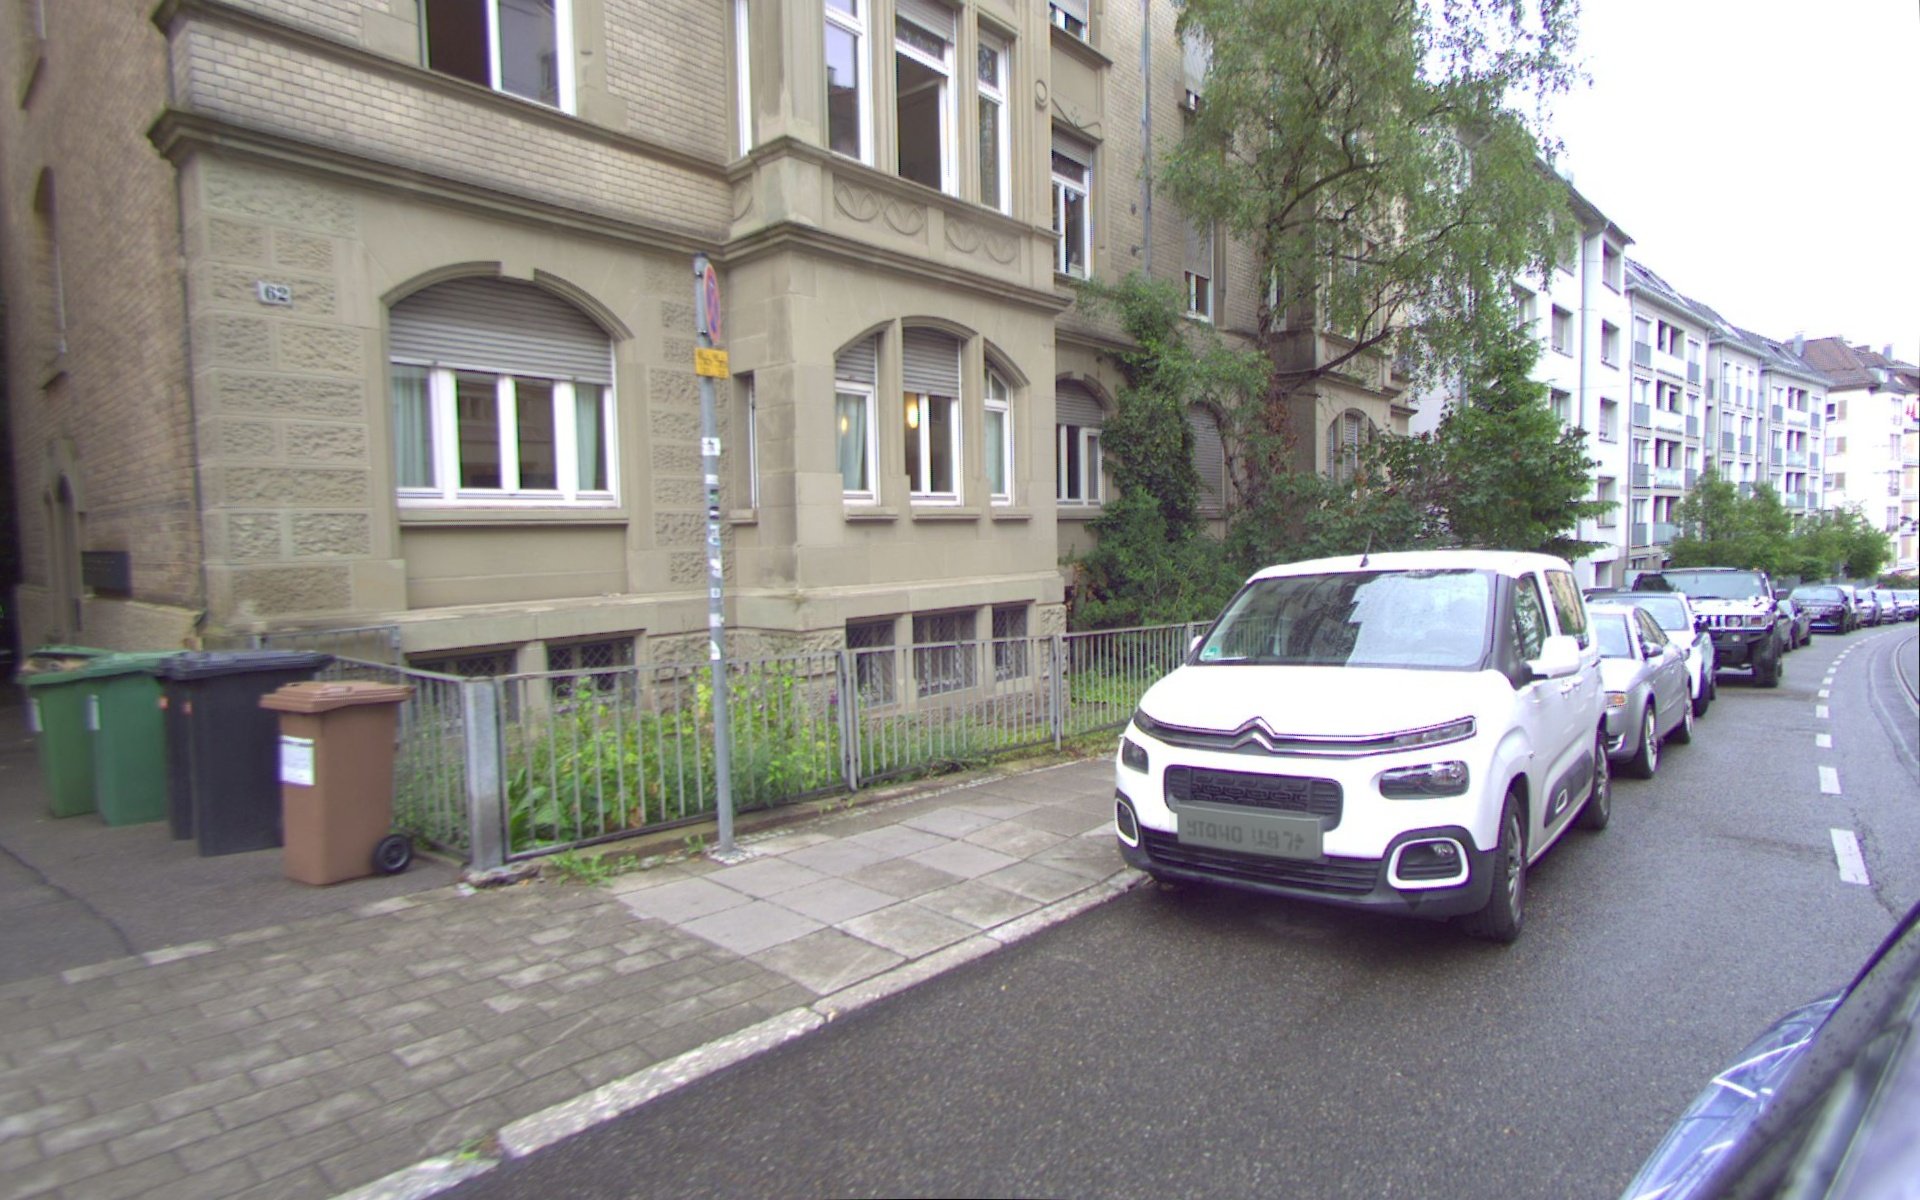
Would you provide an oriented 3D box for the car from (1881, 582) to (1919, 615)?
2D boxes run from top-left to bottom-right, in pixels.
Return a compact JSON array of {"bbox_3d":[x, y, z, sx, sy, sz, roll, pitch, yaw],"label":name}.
[{"bbox_3d":[49.505,-0.118,52.876,1.975,1.604,4.495,2,2,43],"label":"car"}]

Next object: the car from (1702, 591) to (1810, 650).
[{"bbox_3d":[20.134,0.457,25.538,3.819,1.355,1.679,-1,1,-44],"label":"car"}]

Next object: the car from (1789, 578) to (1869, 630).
[{"bbox_3d":[32.666,0.081,37.994,1.943,1.817,4.744,1,2,45],"label":"car"}]

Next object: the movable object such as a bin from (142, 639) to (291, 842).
[{"bbox_3d":[-4.351,0.785,5.927,0.498,1.075,0.600,-3,-1,41],"label":"movable object such as a bin"}]

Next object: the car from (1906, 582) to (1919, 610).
[{"bbox_3d":[56.758,-0.234,58.946,4.704,1.534,1.862,-1,2,-40],"label":"car"}]

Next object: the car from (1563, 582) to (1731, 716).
[{"bbox_3d":[9.375,0.555,13.705,1.557,1.565,3.533,-1,0,40],"label":"car"}]

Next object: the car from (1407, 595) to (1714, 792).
[{"bbox_3d":[5.950,0.692,9.759,1.747,1.418,4.411,-1,0,41],"label":"car"}]

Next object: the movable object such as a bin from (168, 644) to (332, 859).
[{"bbox_3d":[-3.874,0.781,5.523,0.653,1.043,0.528,-1,-1,-43],"label":"movable object such as a bin"}]

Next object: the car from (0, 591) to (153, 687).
[{"bbox_3d":[-17.477,0.672,18.561,3.933,1.529,1.796,7,-1,-45],"label":"car"}]

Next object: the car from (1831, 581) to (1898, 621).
[{"bbox_3d":[40.947,-0.004,45.788,4.608,1.676,1.834,-1,2,-43],"label":"car"}]

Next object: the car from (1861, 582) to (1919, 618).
[{"bbox_3d":[45.379,-0.039,49.346,4.587,1.648,1.834,-1,2,-44],"label":"car"}]

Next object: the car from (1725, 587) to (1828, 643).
[{"bbox_3d":[23.309,0.369,28.838,4.535,1.455,1.795,-1,1,-45],"label":"car"}]

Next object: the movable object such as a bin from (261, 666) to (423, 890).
[{"bbox_3d":[-2.950,0.812,4.837,0.425,0.931,0.530,3,2,38],"label":"movable object such as a bin"}]

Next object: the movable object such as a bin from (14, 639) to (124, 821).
[{"bbox_3d":[-5.879,0.828,6.677,0.518,1.116,0.471,-3,-1,42],"label":"movable object such as a bin"}]

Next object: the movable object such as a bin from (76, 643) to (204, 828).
[{"bbox_3d":[-5.201,0.827,6.420,0.495,1.075,0.547,-3,-1,41],"label":"movable object such as a bin"}]

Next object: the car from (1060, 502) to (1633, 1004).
[{"bbox_3d":[2.564,0.526,5.890,1.795,1.787,4.399,-1,0,40],"label":"car"}]

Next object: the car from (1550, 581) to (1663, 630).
[{"bbox_3d":[20.405,0.155,31.903,4.079,1.444,1.816,-1,0,-39],"label":"car"}]

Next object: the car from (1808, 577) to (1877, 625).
[{"bbox_3d":[36.166,0.009,41.447,4.398,1.817,1.780,-1,2,-44],"label":"car"}]

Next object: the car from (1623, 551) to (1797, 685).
[{"bbox_3d":[13.490,0.248,18.052,2.126,2.039,5.272,-1,0,40],"label":"car"}]
